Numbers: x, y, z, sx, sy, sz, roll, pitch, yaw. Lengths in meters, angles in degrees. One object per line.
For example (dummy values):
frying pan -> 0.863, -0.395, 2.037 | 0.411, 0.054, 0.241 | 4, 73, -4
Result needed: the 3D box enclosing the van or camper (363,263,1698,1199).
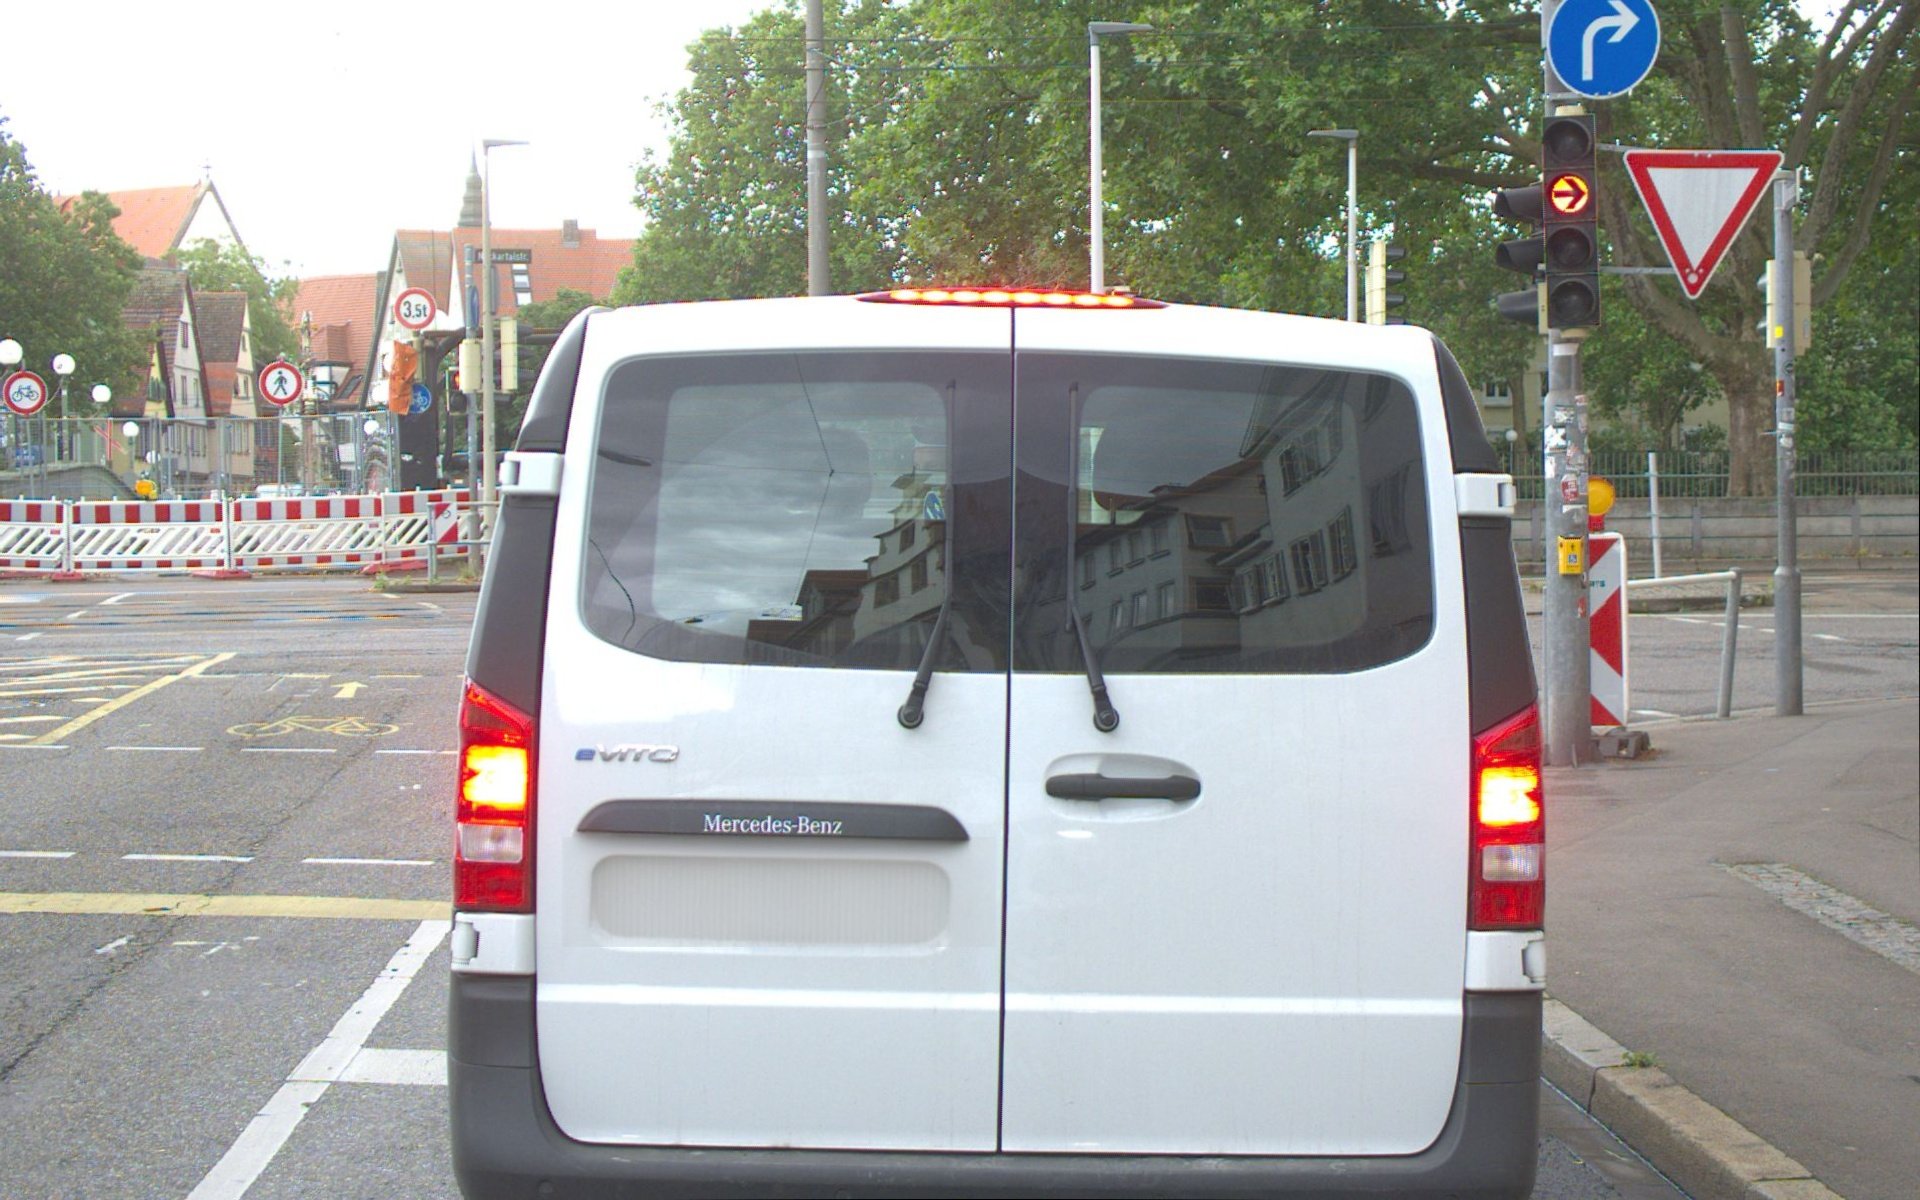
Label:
van or camper -> 0.033, 0.399, 7.234 | 1.937, 1.918, 4.441 | 0, 2, -2
